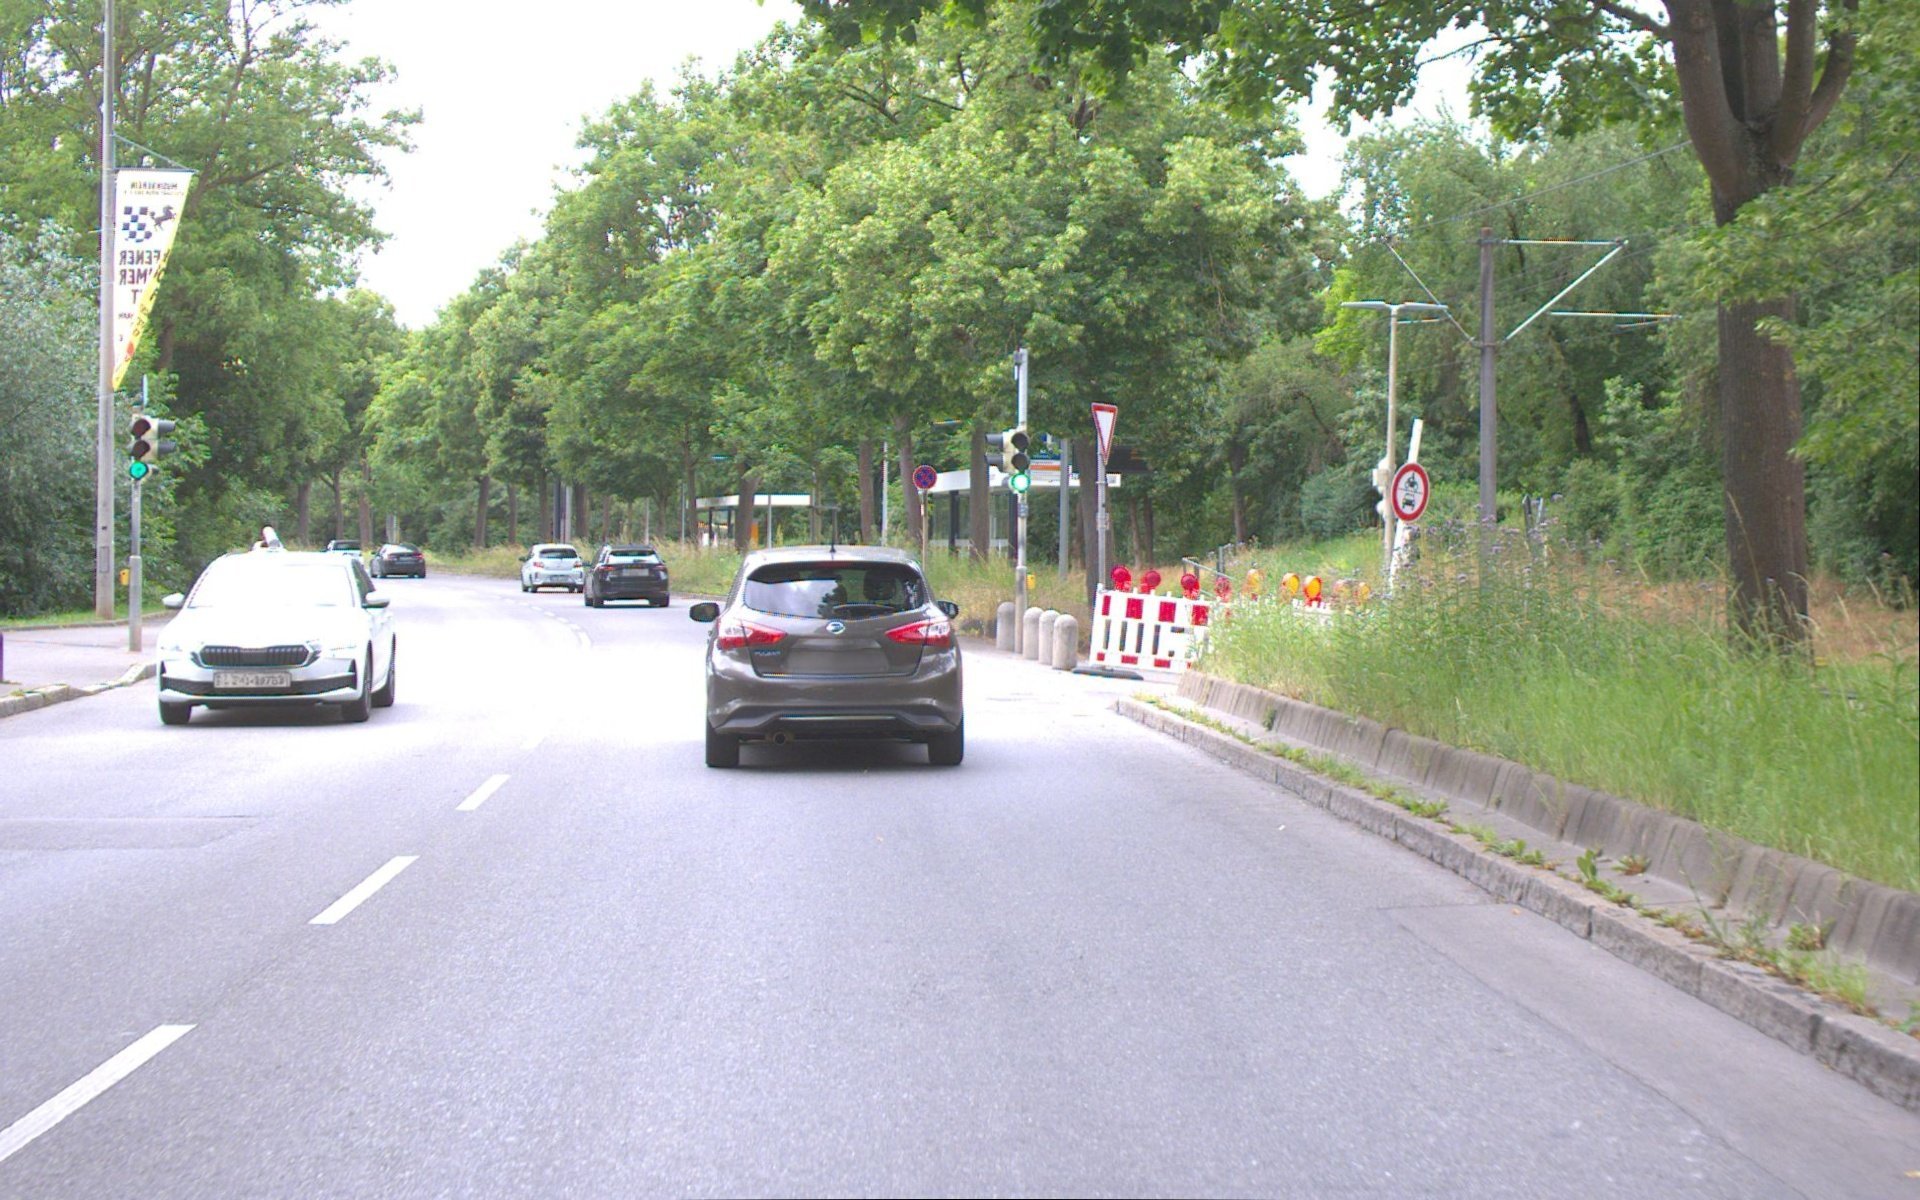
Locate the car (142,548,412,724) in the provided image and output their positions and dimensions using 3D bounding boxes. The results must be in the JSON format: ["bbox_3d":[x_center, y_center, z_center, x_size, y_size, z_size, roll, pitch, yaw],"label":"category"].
[{"bbox_3d":[-6.036,0.265,30.830,1.773,1.434,4.362,-1,1,-3],"label":"car"}]

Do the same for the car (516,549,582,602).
[{"bbox_3d":[-12.607,-0.771,105.371,1.775,1.467,4.001,2,1,-9],"label":"car"}]

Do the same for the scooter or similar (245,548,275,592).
[{"bbox_3d":[-19.108,-0.817,93.793,0.364,1.180,1.297,1,1,-31],"label":"scooter or similar"}]

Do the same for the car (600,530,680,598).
[{"bbox_3d":[-7.514,-0.868,80.886,1.775,1.467,4.001,2,1,-5],"label":"car"}]

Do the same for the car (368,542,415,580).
[{"bbox_3d":[-23.727,-1.644,143.550,1.775,1.467,4.001,4,0,-9],"label":"car"}]

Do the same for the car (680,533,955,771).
[{"bbox_3d":[-0.968,0.302,24.707,1.816,1.503,4.001,0,2,-1],"label":"car"}]

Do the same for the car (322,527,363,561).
[{"bbox_3d":[-28.688,-2.617,159.767,1.775,1.467,4.001,1,2,-9],"label":"car"}]

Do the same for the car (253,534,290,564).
[{"bbox_3d":[-36.079,-2.672,180.123,1.775,1.467,4.001,2,1,-12],"label":"car"}]
